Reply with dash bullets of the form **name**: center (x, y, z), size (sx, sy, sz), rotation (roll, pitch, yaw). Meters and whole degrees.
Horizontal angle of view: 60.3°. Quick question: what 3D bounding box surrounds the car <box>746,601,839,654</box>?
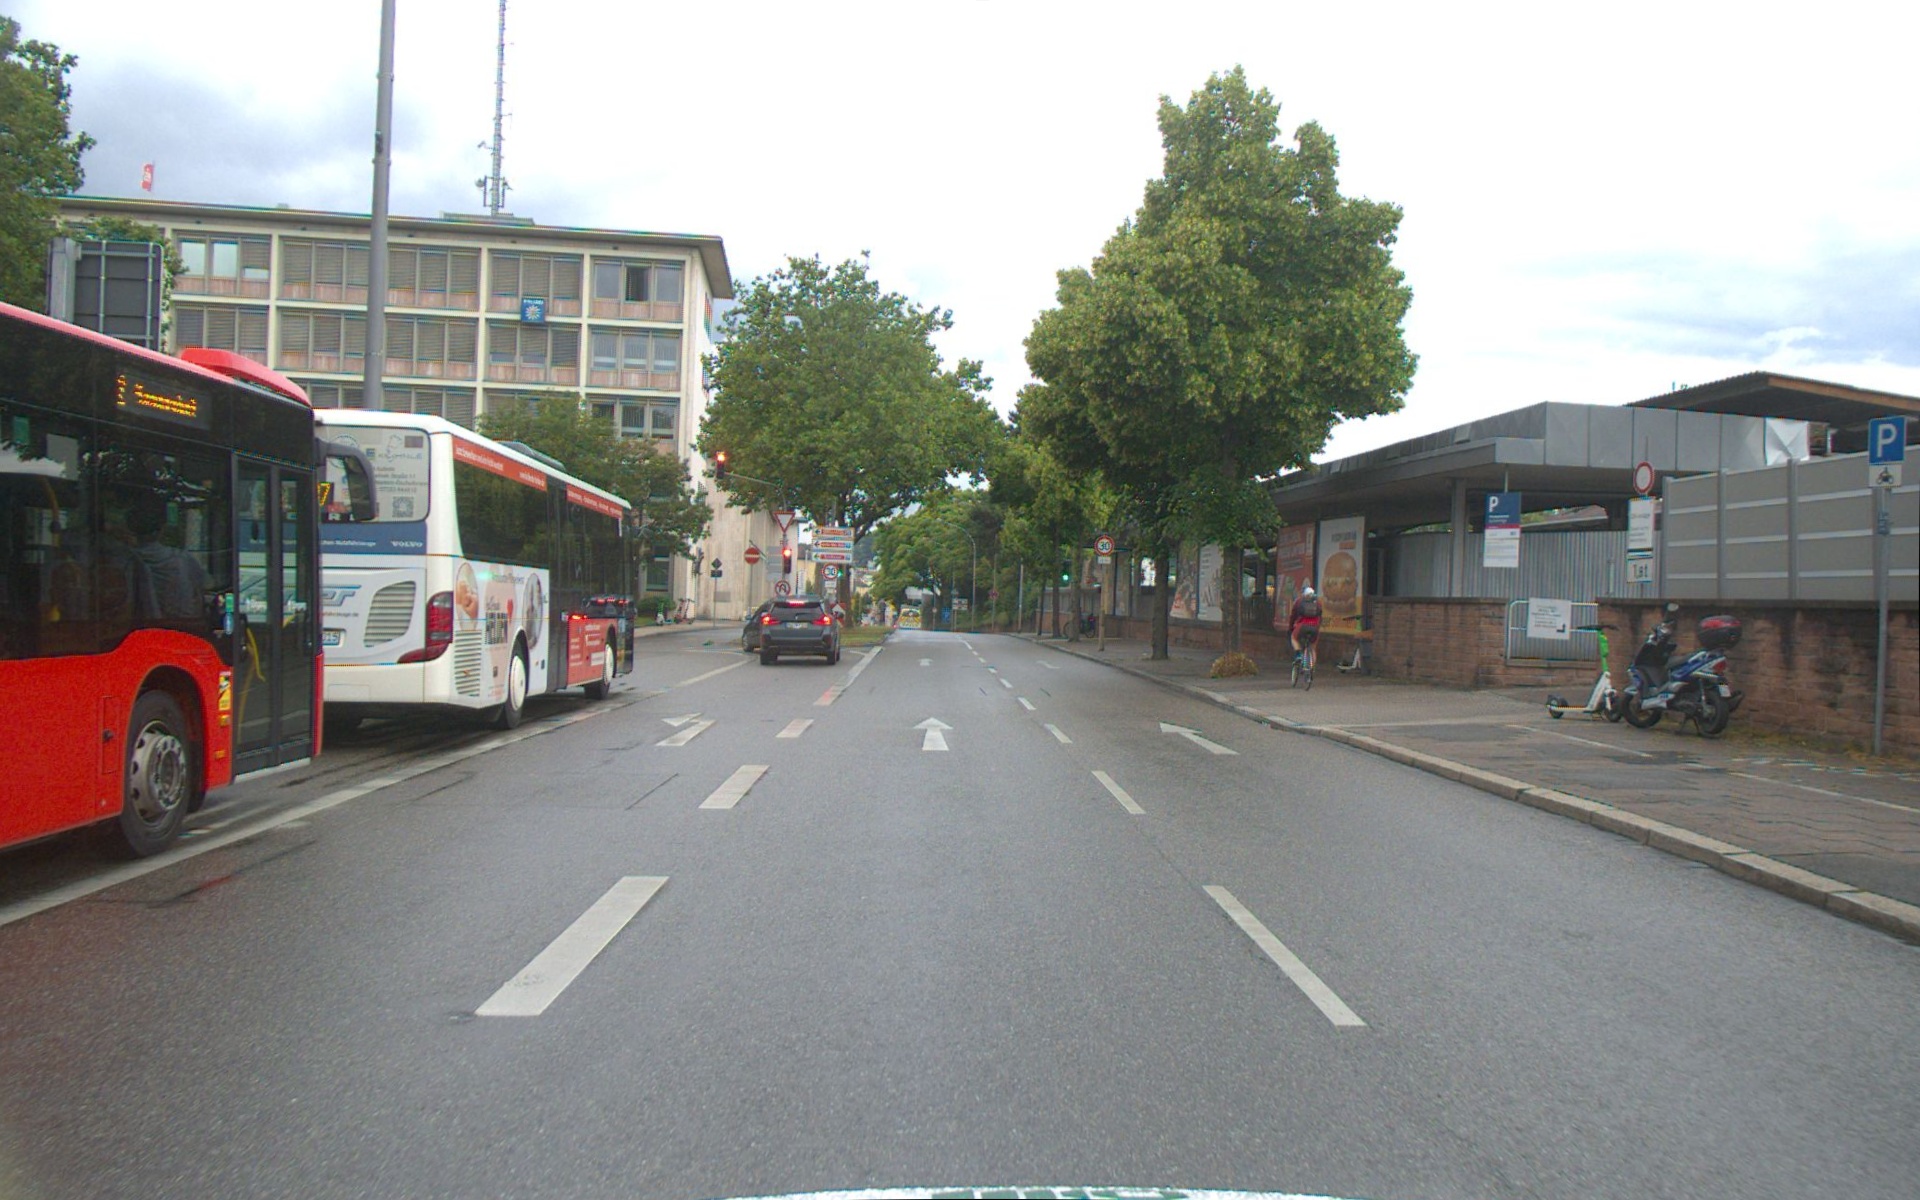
- **car**: center (-4.848, 0.751, 47.336), size (1.787, 1.434, 4.392), rotation (1, 0, -18)

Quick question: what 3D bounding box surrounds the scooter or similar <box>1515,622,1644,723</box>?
- **scooter or similar**: center (7.659, 0.875, 20.529), size (0.486, 1.173, 1.704), rotation (1, -1, -21)

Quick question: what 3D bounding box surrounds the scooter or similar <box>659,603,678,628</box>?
- **scooter or similar**: center (-14.026, 0.736, 79.671), size (0.558, 1.213, 1.574), rotation (1, 0, 2)

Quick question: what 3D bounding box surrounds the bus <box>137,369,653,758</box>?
- **bus**: center (-6.294, -0.325, 21.327), size (2.896, 3.499, 12.551), rotation (1, 0, -3)

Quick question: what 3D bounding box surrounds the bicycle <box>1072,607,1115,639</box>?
- **bicycle**: center (5.445, 0.939, 67.552), size (1.688, 1.271, 0.485), rotation (0, 0, 30)

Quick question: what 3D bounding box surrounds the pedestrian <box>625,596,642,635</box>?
- **pedestrian**: center (-13.816, 0.649, 69.977), size (0.642, 1.631, 0.922), rotation (1, -1, -13)

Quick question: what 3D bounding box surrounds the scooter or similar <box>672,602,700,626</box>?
- **scooter or similar**: center (-14.060, 0.704, 84.922), size (0.596, 1.213, 1.524), rotation (0, -1, 31)

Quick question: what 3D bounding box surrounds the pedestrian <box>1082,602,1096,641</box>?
- **pedestrian**: center (5.232, 0.862, 67.167), size (0.448, 1.596, 0.392), rotation (0, 0, 30)

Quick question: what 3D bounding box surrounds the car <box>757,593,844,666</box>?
- **car**: center (-3.818, 0.688, 40.173), size (1.925, 1.668, 4.355), rotation (1, 0, -3)

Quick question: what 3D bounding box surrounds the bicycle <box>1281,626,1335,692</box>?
- **bicycle**: center (5.814, 0.968, 27.690), size (0.437, 1.034, 1.676), rotation (-1, 0, -4)

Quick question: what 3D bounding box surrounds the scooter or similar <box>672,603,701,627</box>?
- **scooter or similar**: center (-13.823, 0.775, 83.614), size (0.596, 1.213, 1.524), rotation (0, -1, 31)

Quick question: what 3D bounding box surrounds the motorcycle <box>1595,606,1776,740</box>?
- **motorcycle**: center (7.986, 0.760, 18.353), size (0.776, 1.371, 2.455), rotation (1, 0, -4)

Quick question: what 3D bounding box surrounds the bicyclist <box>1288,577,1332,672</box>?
- **bicyclist**: center (5.841, 0.403, 27.646), size (0.523, 1.565, 0.694), rotation (-1, 0, -5)

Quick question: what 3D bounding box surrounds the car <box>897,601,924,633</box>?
- **car**: center (-4.245, 1.413, 141.616), size (2.219, 2.703, 3.997), rotation (1, 0, -4)

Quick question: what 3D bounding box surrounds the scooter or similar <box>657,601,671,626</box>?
- **scooter or similar**: center (-13.969, 0.642, 78.058), size (0.479, 1.188, 1.500), rotation (1, 0, -5)

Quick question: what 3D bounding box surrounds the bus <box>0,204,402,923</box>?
- **bus**: center (-5.626, -0.170, 8.424), size (2.696, 3.187, 8.840), rotation (1, 0, -1)

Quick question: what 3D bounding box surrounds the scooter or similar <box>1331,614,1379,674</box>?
- **scooter or similar**: center (7.975, 0.879, 33.418), size (0.483, 1.173, 1.544), rotation (1, -1, -4)
